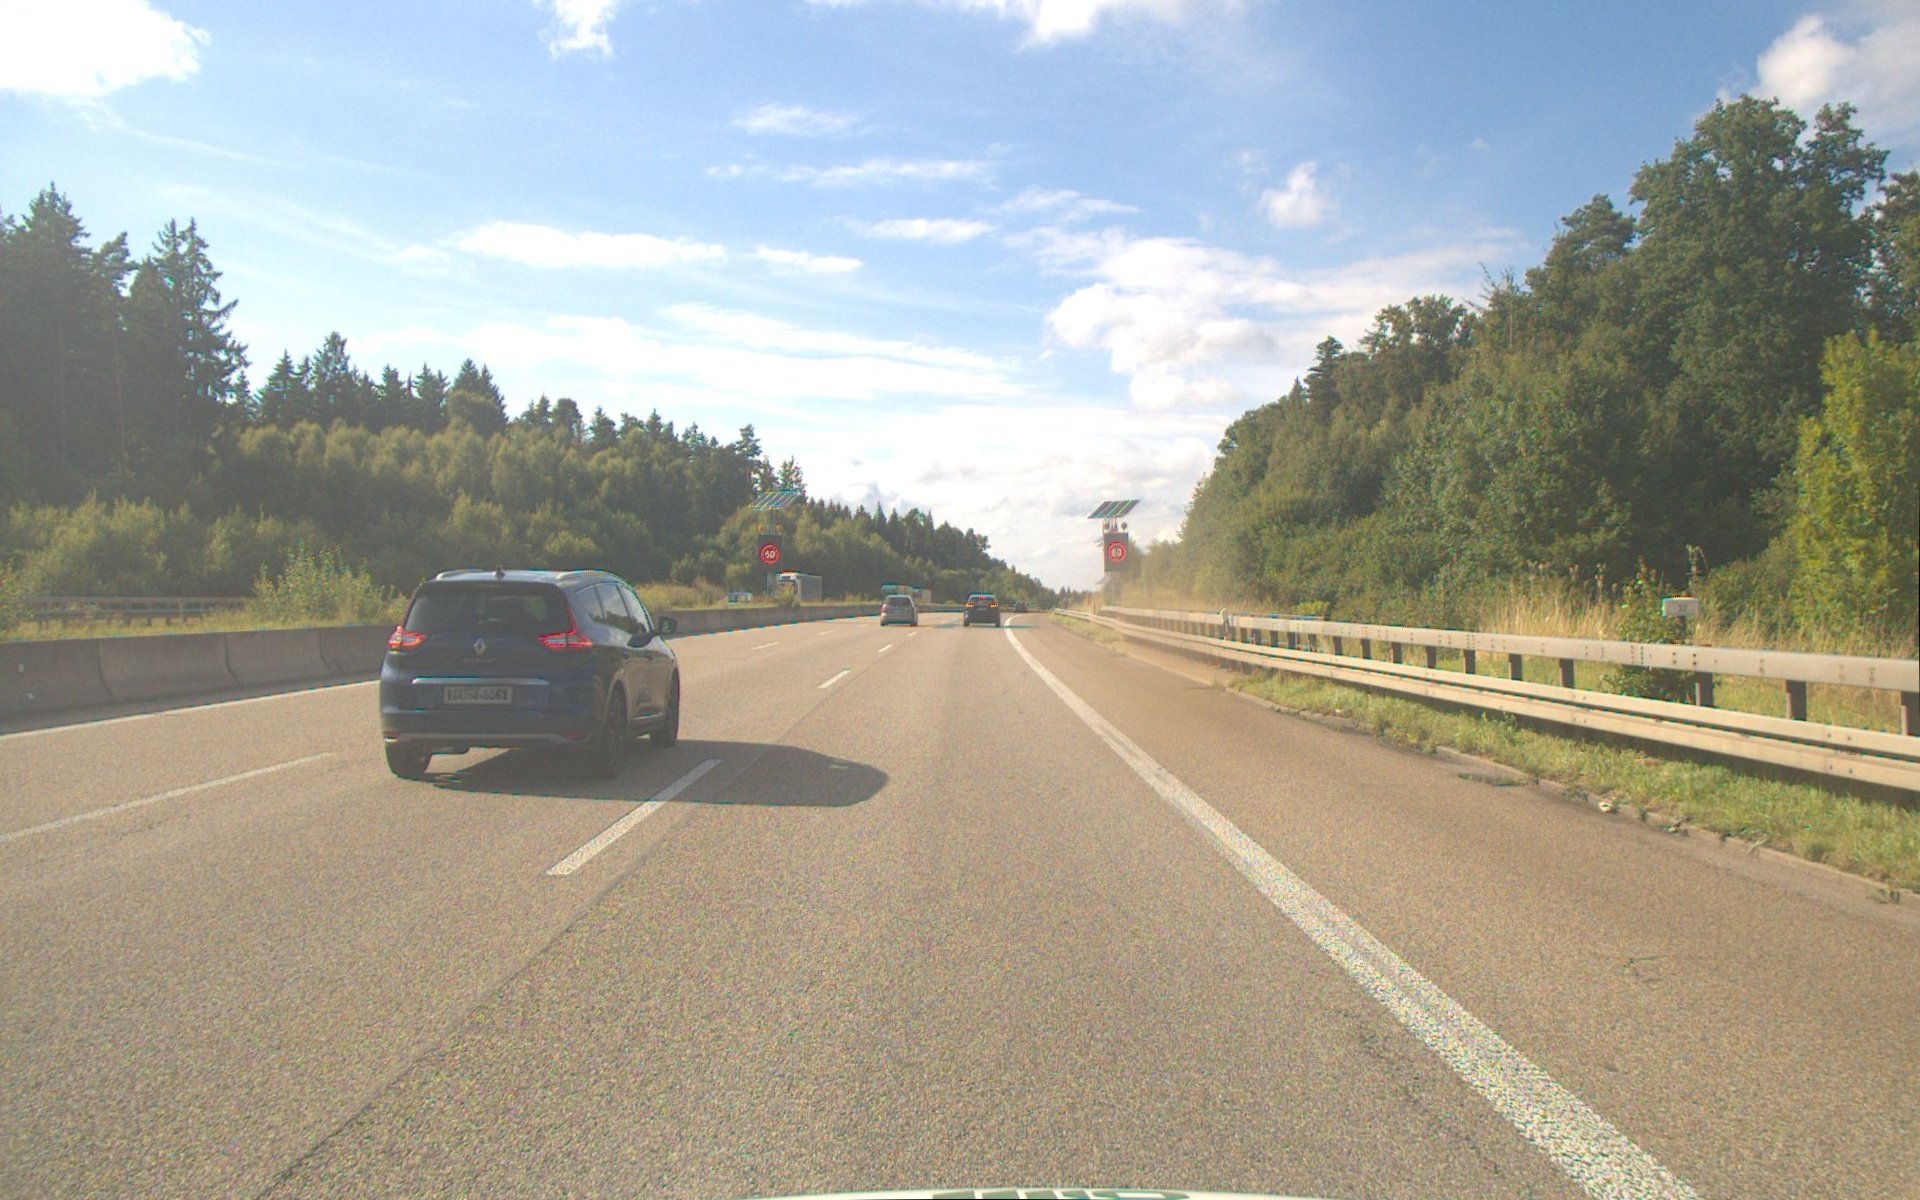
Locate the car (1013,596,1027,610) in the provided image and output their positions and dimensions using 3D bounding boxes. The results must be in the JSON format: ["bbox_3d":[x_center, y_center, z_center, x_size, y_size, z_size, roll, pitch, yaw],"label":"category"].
[{"bbox_3d":[7.646,0.322,211.383,1.775,1.735,4.001,0,1,1],"label":"car"}]

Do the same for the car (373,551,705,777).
[{"bbox_3d":[-3.607,0.488,15.075,1.953,1.736,4.528,1,0,-1],"label":"car"}]

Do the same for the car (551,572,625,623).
[{"bbox_3d":[-19.072,-0.119,85.127,2.263,2.358,6.192,4,0,0],"label":"car"}]

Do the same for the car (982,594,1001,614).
[{"bbox_3d":[3.486,0.420,182.307,1.952,2.049,4.001,1,0,2],"label":"car"}]

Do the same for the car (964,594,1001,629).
[{"bbox_3d":[1.137,0.561,85.573,1.835,1.704,3.890,1,1,0],"label":"car"}]

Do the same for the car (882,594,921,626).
[{"bbox_3d":[-2.944,0.477,84.272,1.835,1.523,3.880,1,1,0],"label":"car"}]

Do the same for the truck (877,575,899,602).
[{"bbox_3d":[-11.292,-1.812,259.003,2.593,4.157,6.419,0,0,4],"label":"truck"}]
